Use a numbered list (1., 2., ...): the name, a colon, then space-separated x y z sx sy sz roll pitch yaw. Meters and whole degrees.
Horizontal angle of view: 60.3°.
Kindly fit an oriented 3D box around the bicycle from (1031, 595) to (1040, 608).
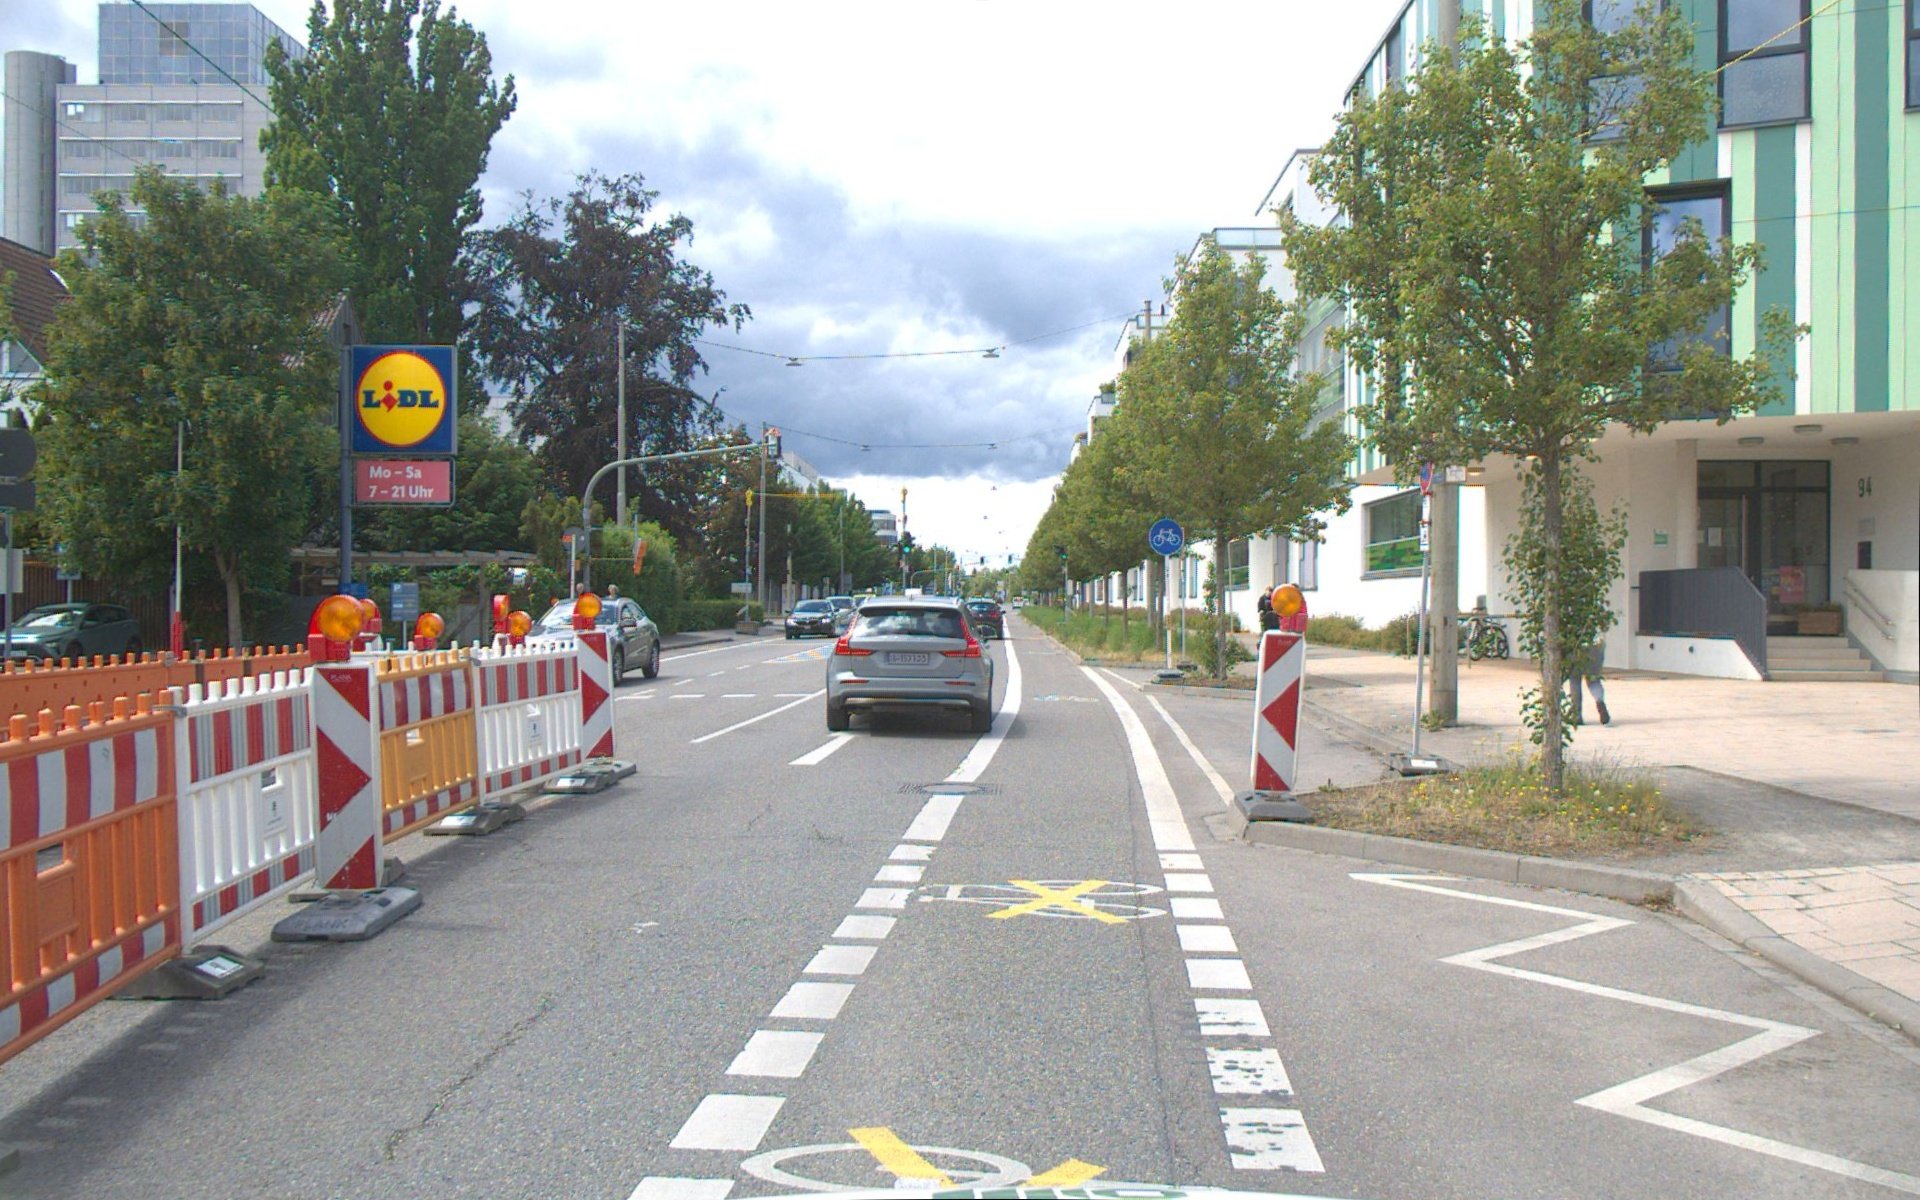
1. bicycle: 9.213 0.191 201.598 1.045 1.478 2.977 -1 0 1

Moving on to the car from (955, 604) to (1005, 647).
1. car: 0.759 0.956 63.150 1.816 1.539 4.000 1 0 1

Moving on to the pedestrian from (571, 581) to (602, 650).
1. pedestrian: -10.396 0.428 46.068 0.667 1.887 0.707 -1 -1 1

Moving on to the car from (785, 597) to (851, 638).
1. car: -5.381 0.664 63.258 1.952 1.424 4.811 -2 0 1

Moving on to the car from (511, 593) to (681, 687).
1. car: -6.412 0.676 29.582 1.815 1.539 4.002 -1 0 5

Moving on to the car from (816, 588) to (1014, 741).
1. car: -0.401 0.667 19.173 1.815 1.539 4.002 1 0 5

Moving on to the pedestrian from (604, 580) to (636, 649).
1. pedestrian: -9.472 0.401 46.101 0.667 1.887 0.892 -1 -1 1

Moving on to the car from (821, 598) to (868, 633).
1. car: -5.355 0.701 77.078 1.713 1.583 4.403 -1 0 1

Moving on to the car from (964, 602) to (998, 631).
1. car: 1.133 0.875 90.852 1.807 1.539 4.000 1 0 1

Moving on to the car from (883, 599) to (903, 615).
1. car: -6.197 0.640 154.019 1.627 1.542 4.001 0 0 1

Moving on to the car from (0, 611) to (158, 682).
1. car: -20.154 1.014 37.436 1.952 1.478 4.000 -1 0 1

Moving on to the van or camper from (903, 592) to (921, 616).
1. van or camper: -5.684 0.515 195.466 1.954 2.782 6.049 -1 0 -3

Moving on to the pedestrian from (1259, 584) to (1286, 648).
1. pedestrian: 8.279 0.423 43.828 0.592 1.684 0.552 -1 0 1

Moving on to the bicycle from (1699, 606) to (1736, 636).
1. bicycle: 11.949 0.333 26.104 0.300 0.460 0.800 -1 0 7

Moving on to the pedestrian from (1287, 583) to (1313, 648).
1. pedestrian: 8.887 0.407 43.271 0.539 1.684 0.607 -1 0 1

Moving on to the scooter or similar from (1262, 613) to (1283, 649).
1. scooter or similar: 8.182 0.804 43.291 0.413 0.921 0.682 -1 0 1

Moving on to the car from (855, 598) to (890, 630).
1. car: -5.356 0.849 101.834 1.803 1.938 4.686 -1 0 1

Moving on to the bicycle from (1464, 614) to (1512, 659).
1. bicycle: 10.435 0.717 32.681 1.011 0.856 0.304 -1 0 -32

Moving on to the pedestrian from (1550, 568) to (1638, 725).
1. pedestrian: 6.543 0.470 17.098 0.569 1.579 0.869 -1 0 1

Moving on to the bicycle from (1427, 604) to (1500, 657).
1. bicycle: 10.272 0.617 33.764 1.438 1.064 0.306 -1 0 -11
